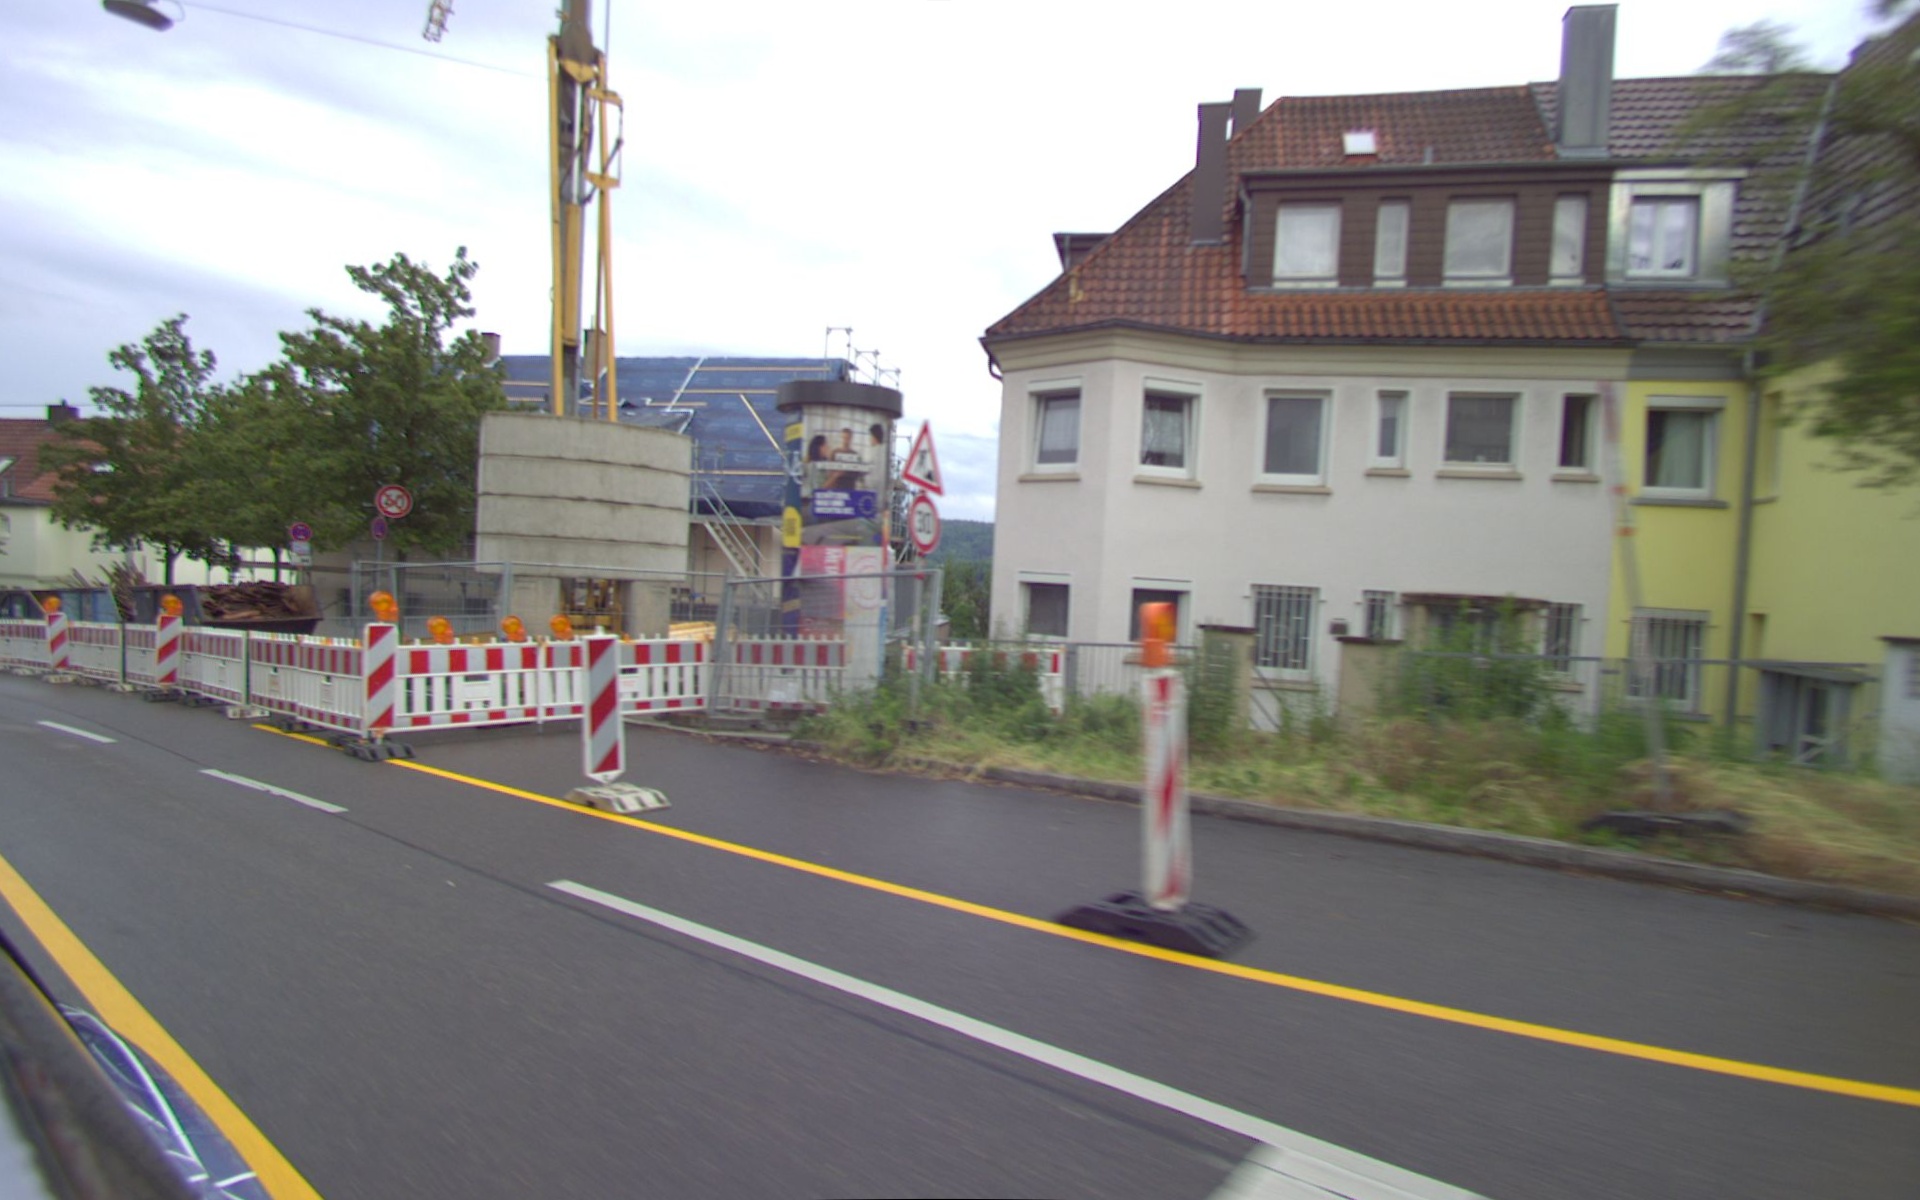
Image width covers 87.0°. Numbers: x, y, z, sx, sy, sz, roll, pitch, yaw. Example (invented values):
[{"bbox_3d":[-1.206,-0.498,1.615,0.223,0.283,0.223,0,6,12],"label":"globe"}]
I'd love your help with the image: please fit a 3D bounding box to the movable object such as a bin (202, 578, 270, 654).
[{"bbox_3d":[-24.691,0.534,34.525,1.374,2.524,1.310,-1,0,16],"label":"movable object such as a bin"}]
